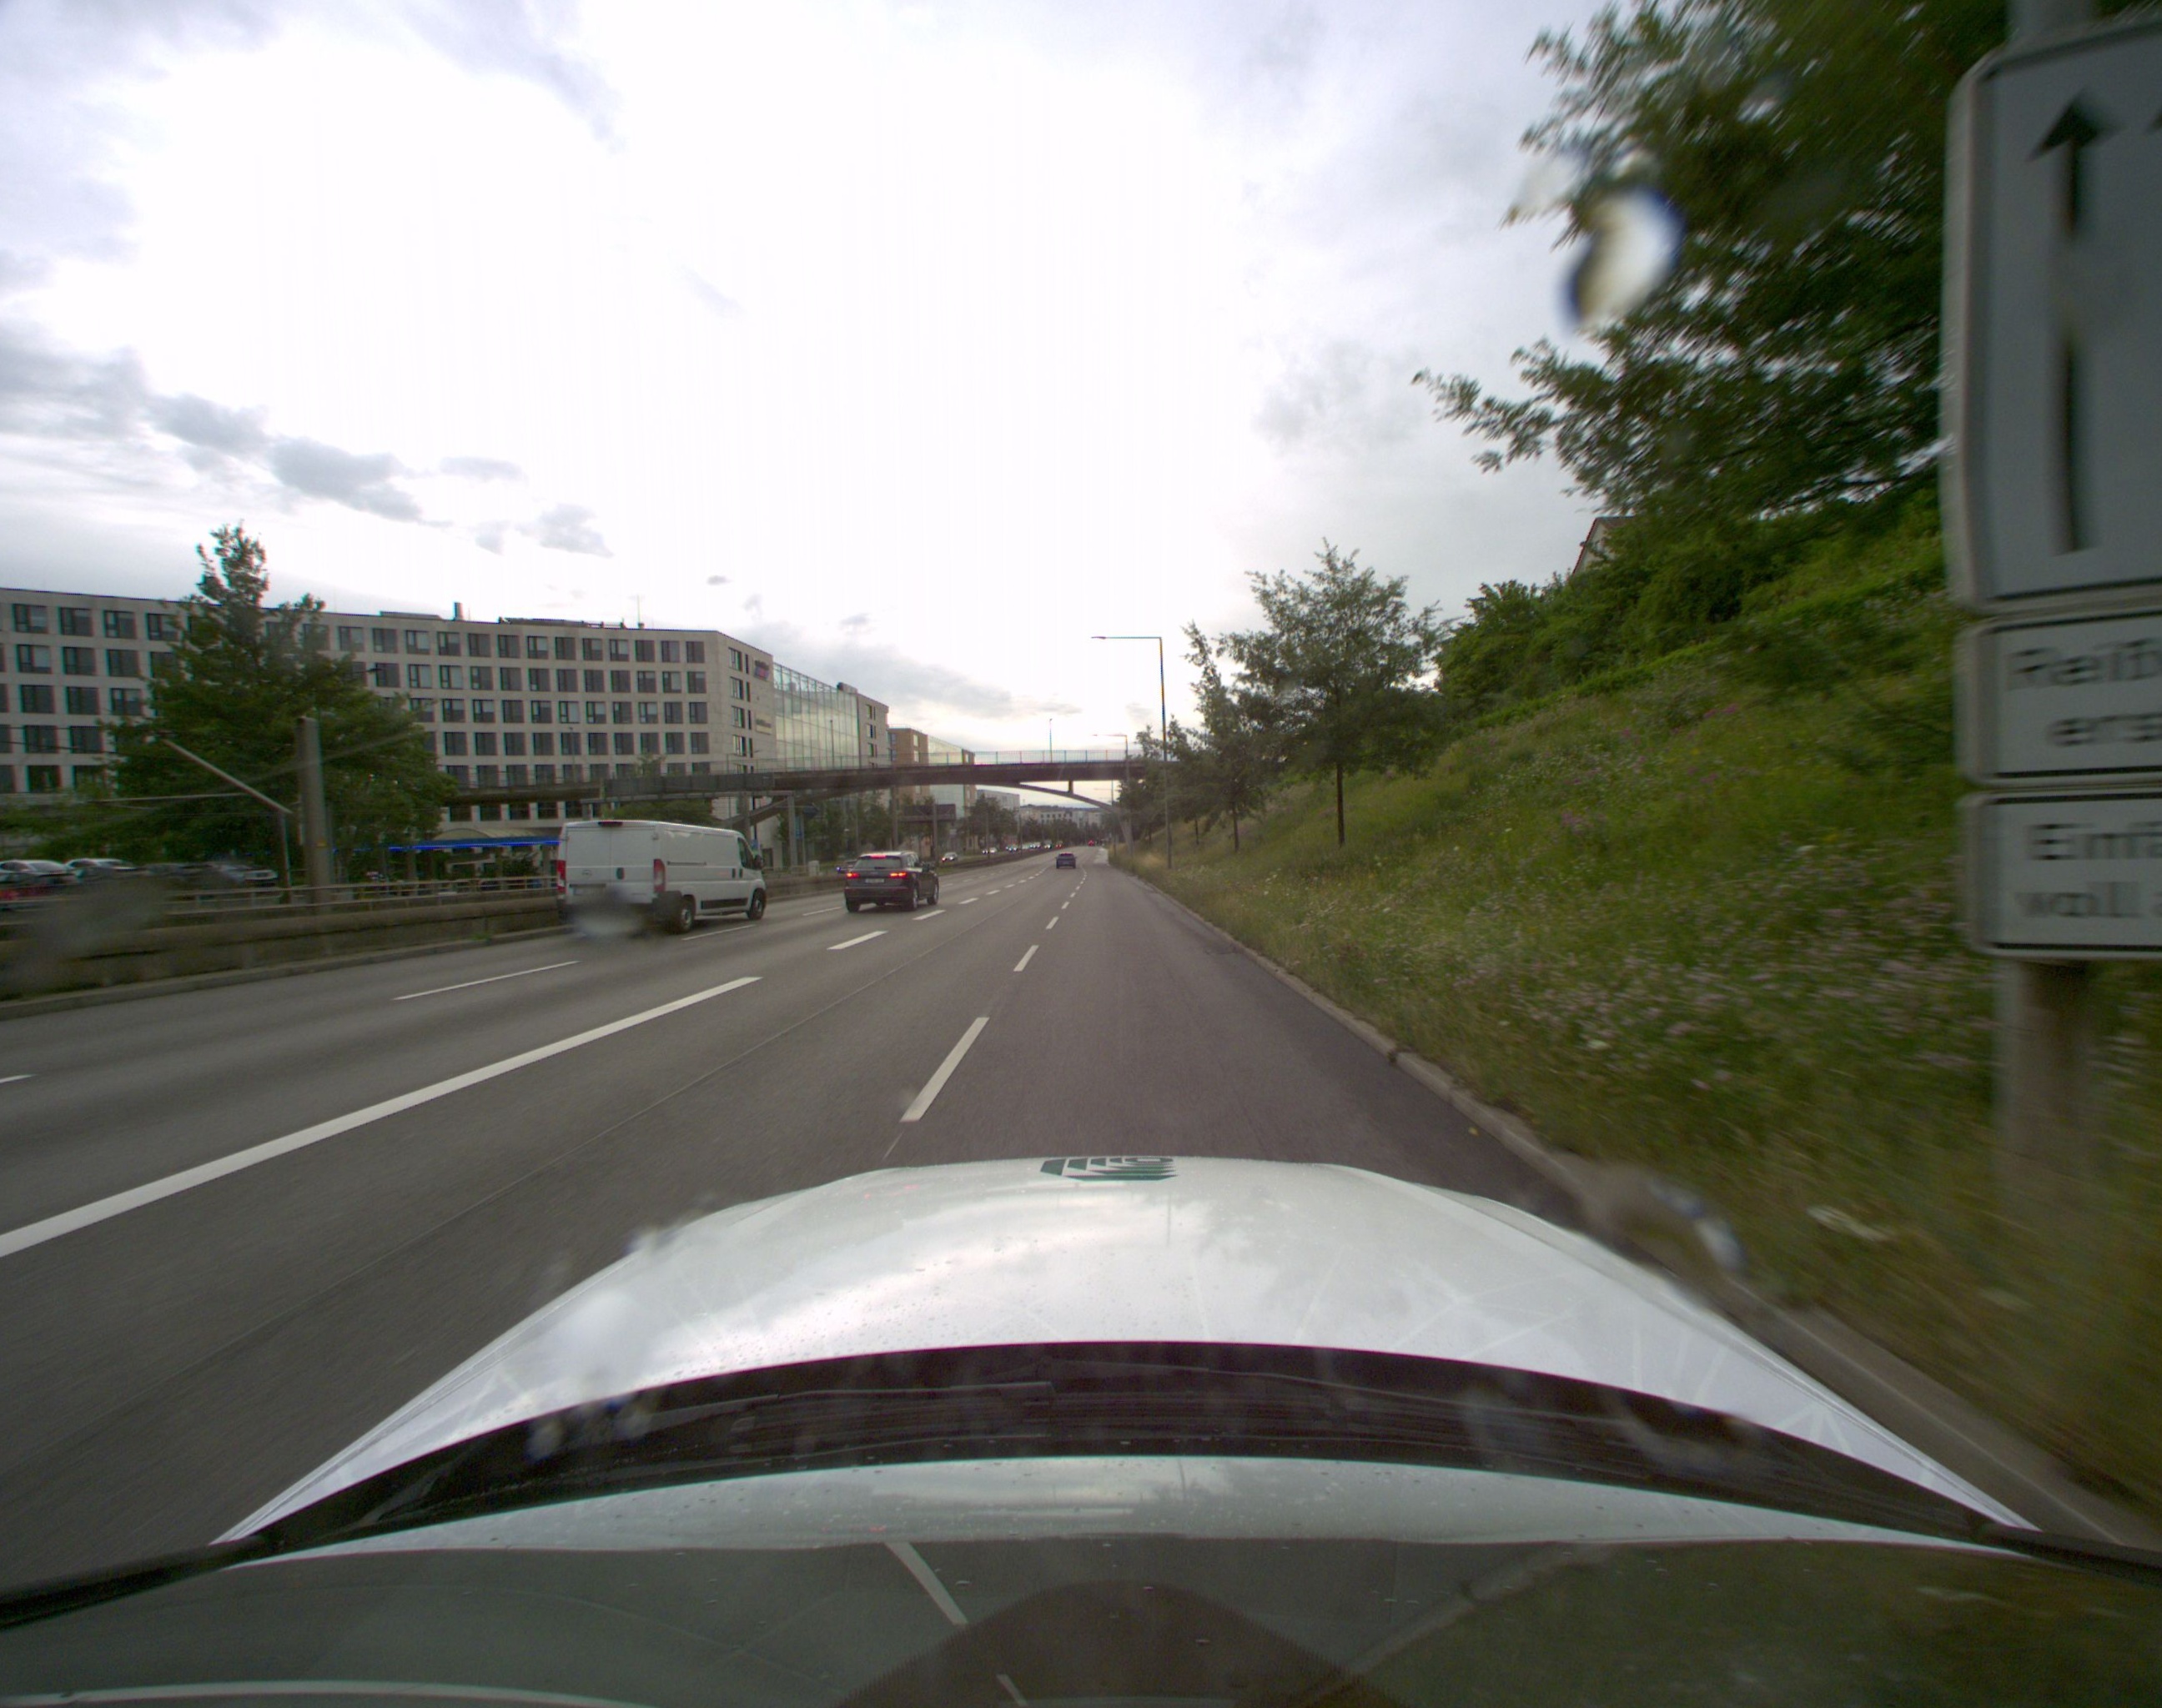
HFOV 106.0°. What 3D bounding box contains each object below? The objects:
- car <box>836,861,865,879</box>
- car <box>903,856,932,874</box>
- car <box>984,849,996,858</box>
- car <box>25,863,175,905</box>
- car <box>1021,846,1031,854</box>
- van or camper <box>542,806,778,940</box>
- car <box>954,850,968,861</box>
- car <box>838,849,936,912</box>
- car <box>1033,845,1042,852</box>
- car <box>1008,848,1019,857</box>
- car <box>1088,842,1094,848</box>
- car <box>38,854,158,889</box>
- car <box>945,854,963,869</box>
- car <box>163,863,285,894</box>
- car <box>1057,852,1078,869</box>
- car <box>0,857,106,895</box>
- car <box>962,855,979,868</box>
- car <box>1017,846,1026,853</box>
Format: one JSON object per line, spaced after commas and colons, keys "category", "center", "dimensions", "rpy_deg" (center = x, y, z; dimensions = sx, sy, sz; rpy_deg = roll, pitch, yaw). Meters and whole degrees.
{"category": "car", "center": [-20.831, 1.419, 73.647], "dimensions": [1.512, 1.420, 3.479], "rpy_deg": [-2, 1, 1]}
{"category": "car", "center": [-14.459, 0.955, 72.147], "dimensions": [1.742, 1.420, 3.479], "rpy_deg": [-1, 0, 1]}
{"category": "car", "center": [-19.582, -0.151, 175.148], "dimensions": [1.985, 1.735, 4.252], "rpy_deg": [0, 3, 3]}
{"category": "car", "center": [-41.015, 1.237, 34.114], "dimensions": [3.970, 1.651, 2.002], "rpy_deg": [0, 0, 3]}
{"category": "car", "center": [-13.764, -0.973, 204.978], "dimensions": [1.985, 1.735, 4.252], "rpy_deg": [0, 3, 3]}
{"category": "van or camper", "center": [-8.814, 0.348, 17.817], "dimensions": [2.196, 2.439, 5.531], "rpy_deg": [-1, 0, 0]}
{"category": "car", "center": [-24.423, 0.280, 165.610], "dimensions": [1.985, 2.013, 4.003], "rpy_deg": [-1, 0, 3]}
{"category": "car", "center": [-5.495, 0.705, 23.632], "dimensions": [1.746, 1.617, 4.746], "rpy_deg": [-1, 0, -1]}
{"category": "car", "center": [-12.210, -1.574, 227.813], "dimensions": [1.985, 1.735, 4.252], "rpy_deg": [0, 3, 3]}
{"category": "car", "center": [-15.220, -0.368, 183.631], "dimensions": [1.985, 2.013, 4.003], "rpy_deg": [-1, 0, 3]}
{"category": "car", "center": [3.255, -2.823, 259.356], "dimensions": [1.858, 1.749, 3.998], "rpy_deg": [0, 3, -2]}
{"category": "car", "center": [-50.772, 0.862, 42.109], "dimensions": [3.966, 1.650, 2.004], "rpy_deg": [0, 3, 6]}
{"category": "car", "center": [-18.771, 1.138, 120.762], "dimensions": [1.987, 2.013, 4.001], "rpy_deg": [0, 3, 0]}
{"category": "car", "center": [-40.942, 1.159, 38.948], "dimensions": [3.970, 1.354, 1.851], "rpy_deg": [0, 0, 3]}
{"category": "car", "center": [-1.253, 0.565, 74.336], "dimensions": [1.742, 1.420, 3.479], "rpy_deg": [-1, 1, 1]}
{"category": "car", "center": [-50.458, 1.029, 39.557], "dimensions": [3.966, 1.650, 2.004], "rpy_deg": [0, 3, 6]}
{"category": "car", "center": [-16.352, 1.136, 120.681], "dimensions": [1.988, 1.705, 4.000], "rpy_deg": [0, 3, -1]}
{"category": "car", "center": [-16.059, -1.263, 219.531], "dimensions": [1.985, 1.735, 4.252], "rpy_deg": [0, 3, 3]}
